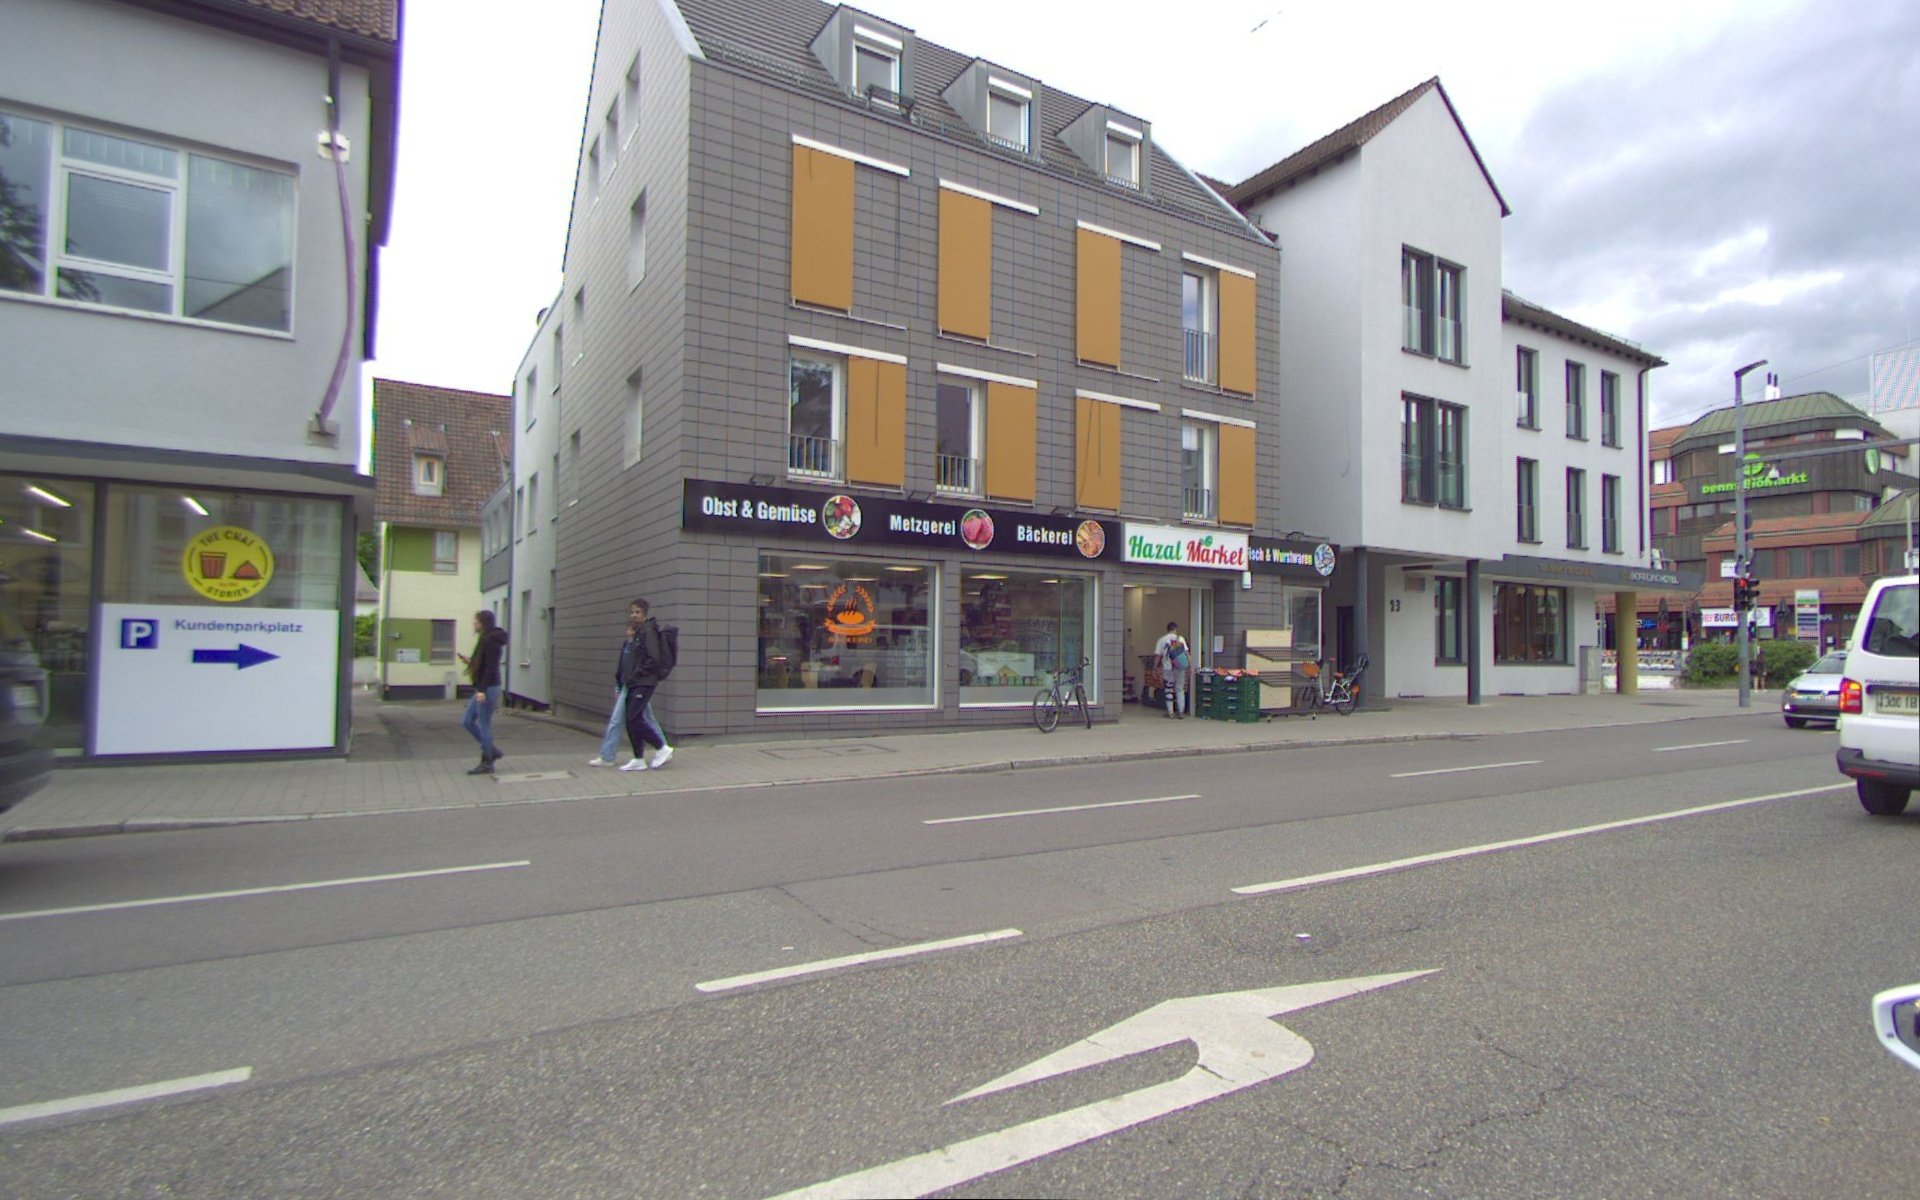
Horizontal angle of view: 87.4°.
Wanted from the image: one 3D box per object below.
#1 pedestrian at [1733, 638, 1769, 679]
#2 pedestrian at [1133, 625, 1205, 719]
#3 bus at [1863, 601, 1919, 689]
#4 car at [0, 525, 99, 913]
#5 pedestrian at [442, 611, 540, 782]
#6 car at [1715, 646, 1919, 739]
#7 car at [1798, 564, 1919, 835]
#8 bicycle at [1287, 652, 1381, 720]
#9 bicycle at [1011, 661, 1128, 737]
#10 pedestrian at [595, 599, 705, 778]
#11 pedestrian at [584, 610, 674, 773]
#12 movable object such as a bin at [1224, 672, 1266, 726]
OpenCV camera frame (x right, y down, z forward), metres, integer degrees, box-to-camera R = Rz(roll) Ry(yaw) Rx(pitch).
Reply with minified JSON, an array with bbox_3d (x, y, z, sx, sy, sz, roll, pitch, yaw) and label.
[{"bbox_3d":[34.603,2.548,43.945,0.933,1.778,0.944,1,-2,-29],"label":"pedestrian"},{"bbox_3d":[3.829,1.299,18.449,0.960,1.665,0.883,1,-2,-31],"label":"pedestrian"},{"bbox_3d":[42.334,1.788,40.884,12.122,3.370,2.984,1,-5,-21],"label":"bus"},{"bbox_3d":[-7.410,0.602,4.771,4.716,1.994,1.914,2,-4,-32],"label":"car"},{"bbox_3d":[-4.995,0.995,10.683,0.859,1.720,0.800,1,-2,-29],"label":"pedestrian"},{"bbox_3d":[15.324,1.577,17.790,3.989,1.467,1.750,2,-3,-31],"label":"car"},{"bbox_3d":[9.379,0.805,8.576,4.784,2.040,1.983,2,-1,-31],"label":"car"},{"bbox_3d":[7.272,1.638,19.499,2.096,1.248,0.579,2,-2,-33],"label":"bicycle"},{"bbox_3d":[1.744,1.536,15.839,1.880,1.115,0.569,1,-2,-31],"label":"bicycle"},{"bbox_3d":[-3.408,0.946,11.033,1.015,1.863,0.704,1,-2,-30],"label":"pedestrian"},{"bbox_3d":[-3.847,1.038,11.670,0.859,1.805,0.704,1,-2,-29],"label":"pedestrian"},{"bbox_3d":[5.124,1.772,18.061,0.501,0.911,0.548,1,-2,-32],"label":"movable object such as a bin"}]
